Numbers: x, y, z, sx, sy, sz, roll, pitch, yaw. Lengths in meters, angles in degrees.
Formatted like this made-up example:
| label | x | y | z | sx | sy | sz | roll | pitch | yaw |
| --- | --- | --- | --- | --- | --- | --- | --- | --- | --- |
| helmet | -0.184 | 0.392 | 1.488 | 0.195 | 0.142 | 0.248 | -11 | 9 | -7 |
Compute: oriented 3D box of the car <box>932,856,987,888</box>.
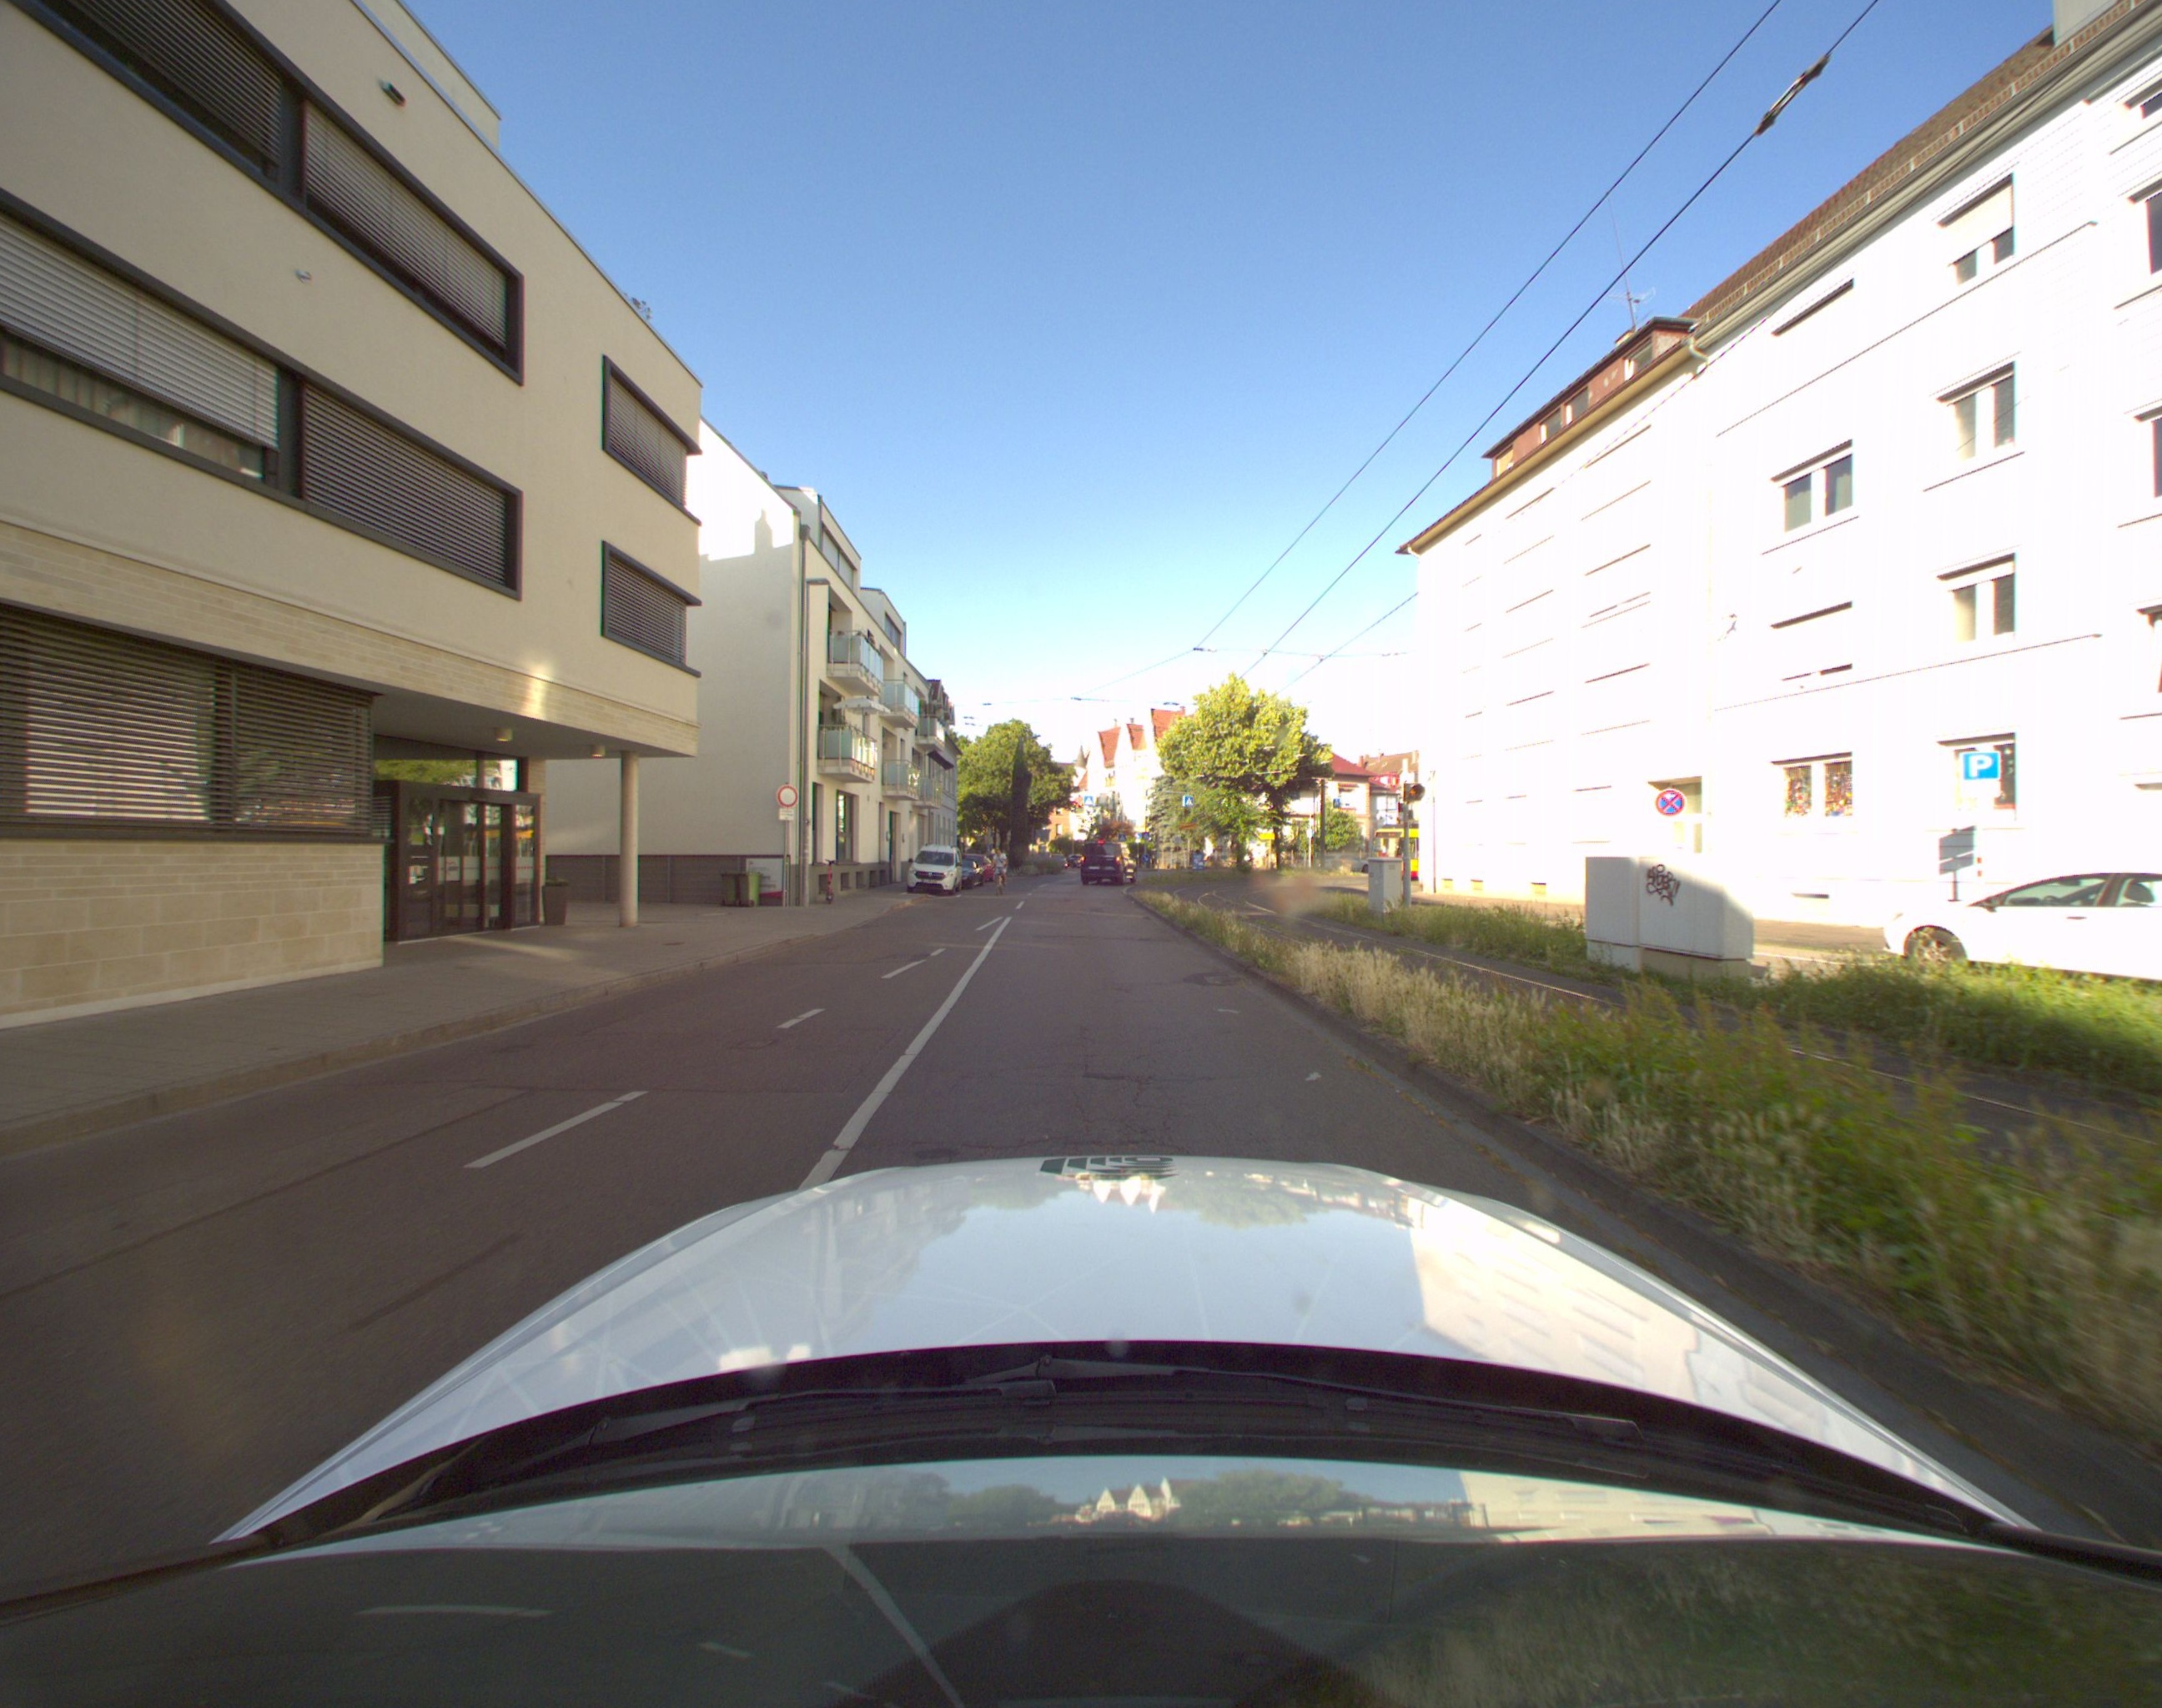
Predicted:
| label | x | y | z | sx | sy | sz | roll | pitch | yaw |
| --- | --- | --- | --- | --- | --- | --- | --- | --- | --- |
| car | -5.290 | 0.784 | 35.877 | 1.658 | 1.273 | 4.027 | 2 | -1 | 2 |

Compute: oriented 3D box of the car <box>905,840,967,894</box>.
| label | x | y | z | sx | sy | sz | roll | pitch | yaw |
| --- | --- | --- | --- | --- | --- | --- | --- | --- | --- |
| car | -5.430 | 0.467 | 31.002 | 1.807 | 1.869 | 4.326 | 2 | -1 | -4 |

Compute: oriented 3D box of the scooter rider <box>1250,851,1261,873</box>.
| label | x | y | z | sx | sy | sz | roll | pitch | yaw |
| --- | --- | --- | --- | --- | --- | --- | --- | --- | --- |
| scooter rider | 13.162 | 0.582 | 61.403 | 0.607 | 1.672 | 0.651 | -1 | 0 | -16 |

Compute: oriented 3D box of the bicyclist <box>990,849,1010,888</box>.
| label | x | y | z | sx | sy | sz | roll | pitch | yaw |
| --- | --- | --- | --- | --- | --- | --- | --- | --- | --- |
| bicyclist | -2.907 | 0.507 | 29.377 | 0.620 | 1.380 | 0.801 | -1 | -1 | -1 |

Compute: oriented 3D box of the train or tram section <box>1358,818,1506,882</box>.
| label | x | y | z | sx | sy | sz | roll | pitch | yaw |
| --- | --- | --- | --- | --- | --- | --- | --- | --- | --- |
| train or tram section | 21.238 | -0.251 | 49.024 | 9.947 | 3.555 | 2.758 | 0 | 0 | -29 |

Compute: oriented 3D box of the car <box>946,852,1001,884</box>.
| label | x | y | z | sx | sy | sz | roll | pitch | yaw |
| --- | --- | --- | --- | --- | --- | --- | --- | --- | --- |
| car | -5.483 | 0.684 | 41.942 | 1.700 | 1.466 | 4.600 | 2 | 1 | 6 |

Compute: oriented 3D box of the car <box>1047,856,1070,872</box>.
| label | x | y | z | sx | sy | sz | roll | pitch | yaw |
| --- | --- | --- | --- | --- | --- | --- | --- | --- | --- |
| car | -2.282 | 1.008 | 80.269 | 1.712 | 1.403 | 3.725 | -3 | -1 | -10 |

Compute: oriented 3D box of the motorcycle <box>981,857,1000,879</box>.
| label | x | y | z | sx | sy | sz | roll | pitch | yaw |
| --- | --- | --- | --- | --- | --- | --- | --- | --- | --- |
| motorcycle | -5.721 | 0.850 | 51.181 | 0.931 | 1.357 | 2.554 | 1 | -1 | -12 |

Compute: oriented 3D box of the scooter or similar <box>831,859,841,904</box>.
| label | x | y | z | sx | sy | sz | roll | pitch | yaw |
| --- | --- | --- | --- | --- | --- | --- | --- | --- | --- |
| scooter or similar | -7.030 | 0.783 | 23.398 | 0.225 | 1.220 | 1.149 | 1 | 1 | -15 |

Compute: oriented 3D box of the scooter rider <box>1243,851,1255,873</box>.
| label | x | y | z | sx | sy | sz | roll | pitch | yaw |
| --- | --- | --- | --- | --- | --- | --- | --- | --- | --- |
| scooter rider | 12.624 | 0.583 | 61.236 | 0.607 | 1.672 | 0.651 | -1 | 0 | -16 |

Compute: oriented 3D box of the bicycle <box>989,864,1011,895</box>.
| label | x | y | z | sx | sy | sz | roll | pitch | yaw |
| --- | --- | --- | --- | --- | --- | --- | --- | --- | --- |
| bicycle | -2.900 | 0.897 | 29.219 | 0.620 | 1.081 | 1.783 | -1 | -1 | -1 |

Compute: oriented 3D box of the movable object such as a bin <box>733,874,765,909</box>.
| label | x | y | z | sx | sy | sz | roll | pitch | yaw |
| --- | --- | --- | --- | --- | --- | --- | --- | --- | --- |
| movable object such as a bin | -8.719 | 0.978 | 21.400 | 0.543 | 0.901 | 0.533 | 0 | -1 | 21 |

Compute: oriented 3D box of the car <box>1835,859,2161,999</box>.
| label | x | y | z | sx | sy | sz | roll | pitch | yaw |
| --- | --- | --- | --- | --- | --- | --- | --- | --- | --- |
| car | 12.058 | 0.797 | 9.540 | 1.995 | 1.386 | 4.429 | -1 | 1 | -11 |

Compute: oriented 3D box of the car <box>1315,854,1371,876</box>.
| label | x | y | z | sx | sy | sz | roll | pitch | yaw |
| --- | --- | --- | --- | --- | --- | --- | --- | --- | --- |
| car | 19.763 | 0.819 | 61.478 | 3.689 | 1.505 | 1.950 | -1 | 0 | -23 |

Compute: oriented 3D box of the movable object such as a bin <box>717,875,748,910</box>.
| label | x | y | z | sx | sy | sz | roll | pitch | yaw |
| --- | --- | --- | --- | --- | --- | --- | --- | --- | --- |
| movable object such as a bin | -9.244 | 1.011 | 21.609 | 0.543 | 0.901 | 0.533 | 0 | -1 | 21 |

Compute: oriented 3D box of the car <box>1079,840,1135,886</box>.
| label | x | y | z | sx | sy | sz | roll | pitch | yaw |
| --- | --- | --- | --- | --- | --- | --- | --- | --- | --- |
| car | 1.311 | 0.383 | 38.596 | 1.980 | 2.013 | 4.013 | 0 | 0 | 11 |
